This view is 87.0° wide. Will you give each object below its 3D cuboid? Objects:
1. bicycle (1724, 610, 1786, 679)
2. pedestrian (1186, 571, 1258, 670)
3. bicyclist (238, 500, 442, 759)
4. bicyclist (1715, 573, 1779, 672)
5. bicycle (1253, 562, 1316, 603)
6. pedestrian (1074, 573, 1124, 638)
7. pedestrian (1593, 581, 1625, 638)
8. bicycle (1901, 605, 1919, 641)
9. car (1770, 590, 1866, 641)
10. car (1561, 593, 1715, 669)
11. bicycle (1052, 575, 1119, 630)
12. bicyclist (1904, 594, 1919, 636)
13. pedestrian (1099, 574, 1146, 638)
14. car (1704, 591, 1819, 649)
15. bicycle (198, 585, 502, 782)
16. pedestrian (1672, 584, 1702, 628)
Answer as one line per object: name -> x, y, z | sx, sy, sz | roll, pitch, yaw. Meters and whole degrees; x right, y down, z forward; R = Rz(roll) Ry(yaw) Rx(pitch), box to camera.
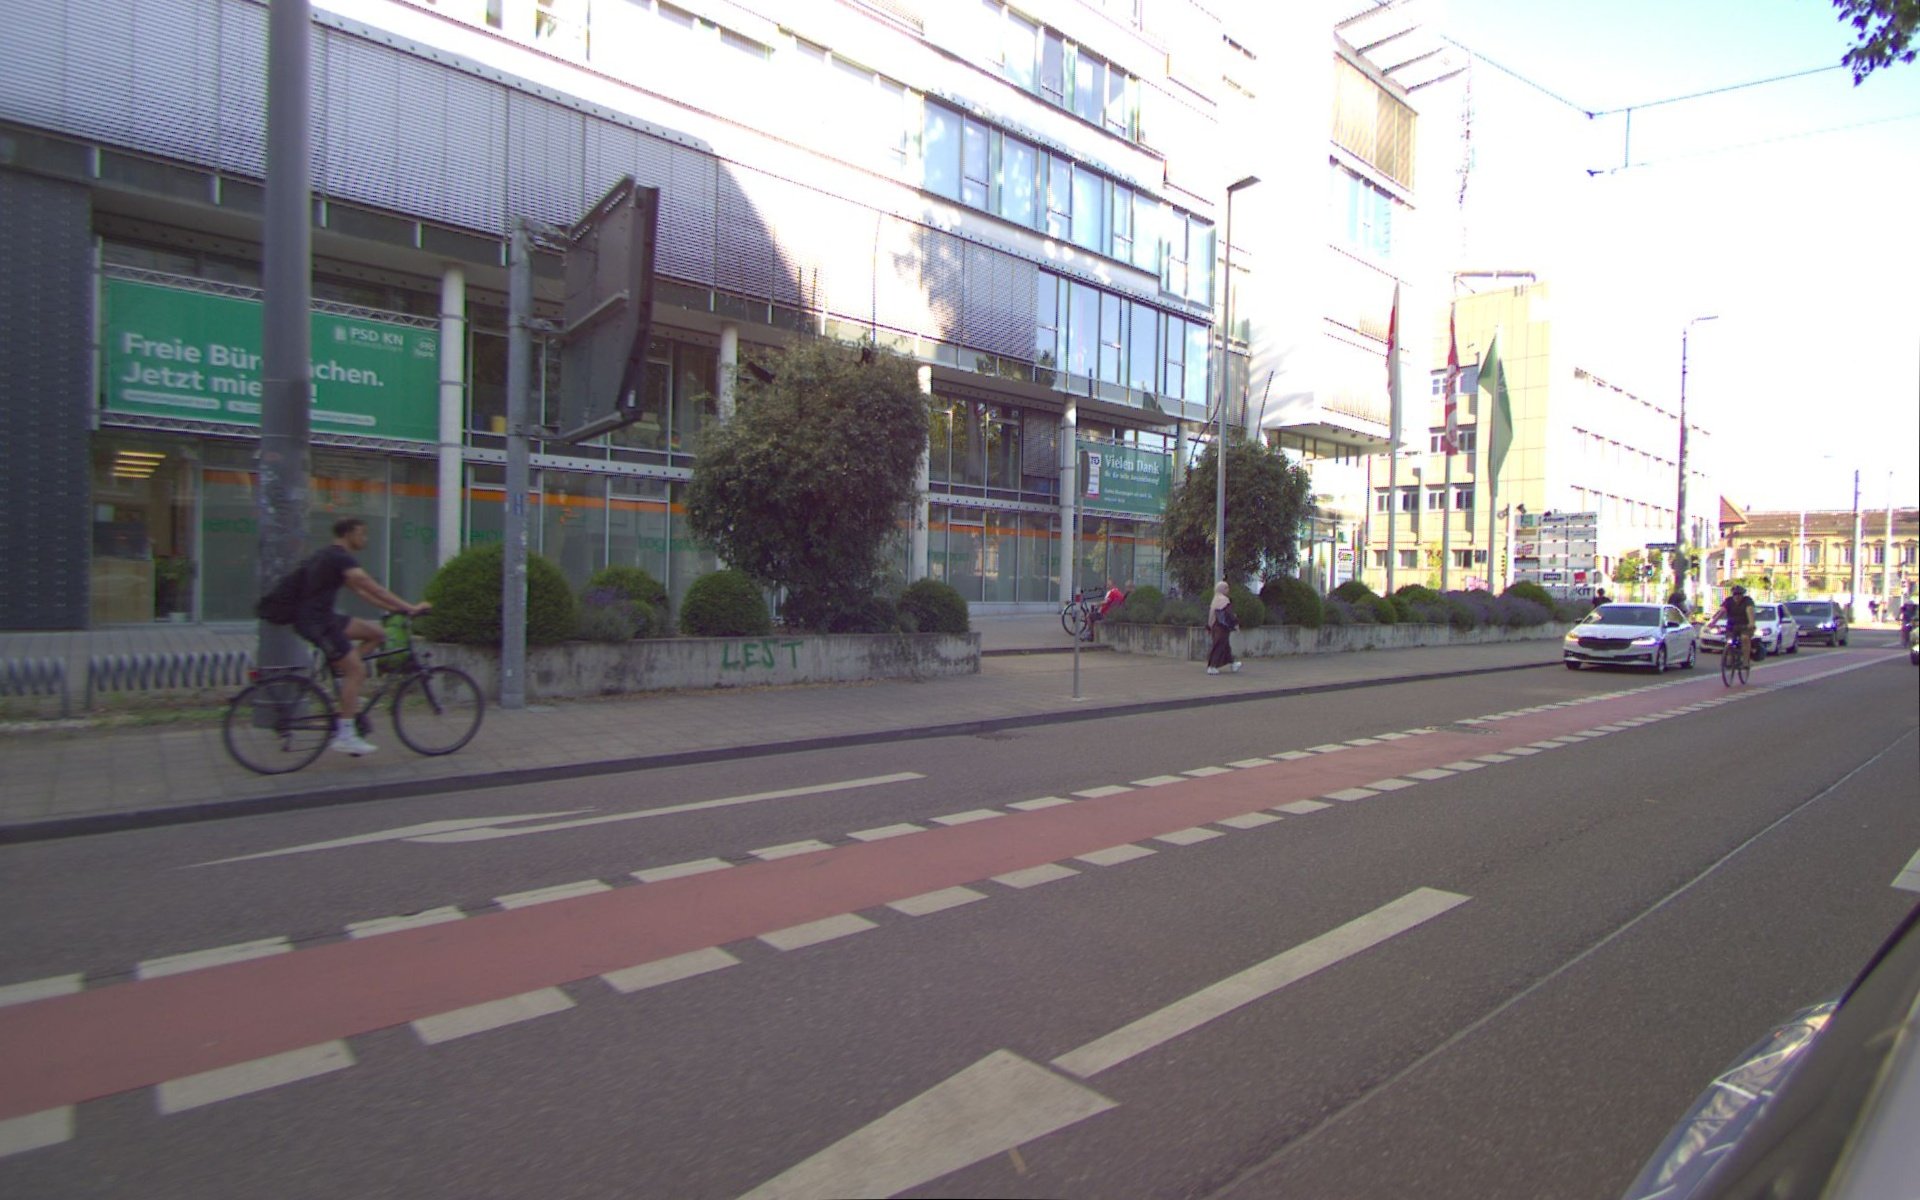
bicycle -> 14.192, 0.759, 18.051 | 2.091, 1.135, 0.550 | 0, 2, -44
pedestrian -> 4.388, 0.328, 16.976 | 0.895, 1.594, 0.753 | 0, 1, -38
bicyclist -> -4.673, 0.180, 7.634 | 1.188, 1.783, 0.743 | 0, 4, -41
bicyclist -> 14.115, 0.393, 18.162 | 0.702, 1.709, 0.751 | 1, 1, -42
bicycle -> 11.845, -0.652, 37.048 | 0.741, 1.445, 2.435 | 1, 1, -23
pedestrian -> 2.853, 0.100, 20.794 | 0.682, 1.288, 0.750 | 0, 1, -45
pedestrian -> 18.774, 0.272, 29.273 | 0.579, 1.601, 0.527 | 0, 3, -40
bicycle -> 31.990, 0.757, 33.763 | 1.841, 1.138, 0.666 | 0, 1, -41
car -> 30.090, 0.502, 35.451 | 3.930, 1.616, 1.997 | 0, 2, -41
car -> 14.591, 0.597, 21.711 | 3.952, 1.437, 1.784 | 0, 2, -41
bicycle -> 2.786, 0.051, 22.368 | 1.583, 1.176, 0.534 | 0, 1, -41
bicyclist -> 31.948, 0.496, 33.669 | 0.852, 1.397, 0.685 | 0, 1, -41
pedestrian -> 3.408, 0.115, 21.251 | 0.535, 1.288, 0.783 | 0, 1, -45
car -> 22.486, 0.529, 28.361 | 3.798, 1.482, 1.672 | 0, 2, -38
bicycle -> -4.610, 0.566, 7.729 | 1.894, 1.291, 0.665 | 0, 4, -41
pedestrian -> 27.514, 0.234, 38.325 | 0.652, 1.601, 0.693 | 0, 3, -40
